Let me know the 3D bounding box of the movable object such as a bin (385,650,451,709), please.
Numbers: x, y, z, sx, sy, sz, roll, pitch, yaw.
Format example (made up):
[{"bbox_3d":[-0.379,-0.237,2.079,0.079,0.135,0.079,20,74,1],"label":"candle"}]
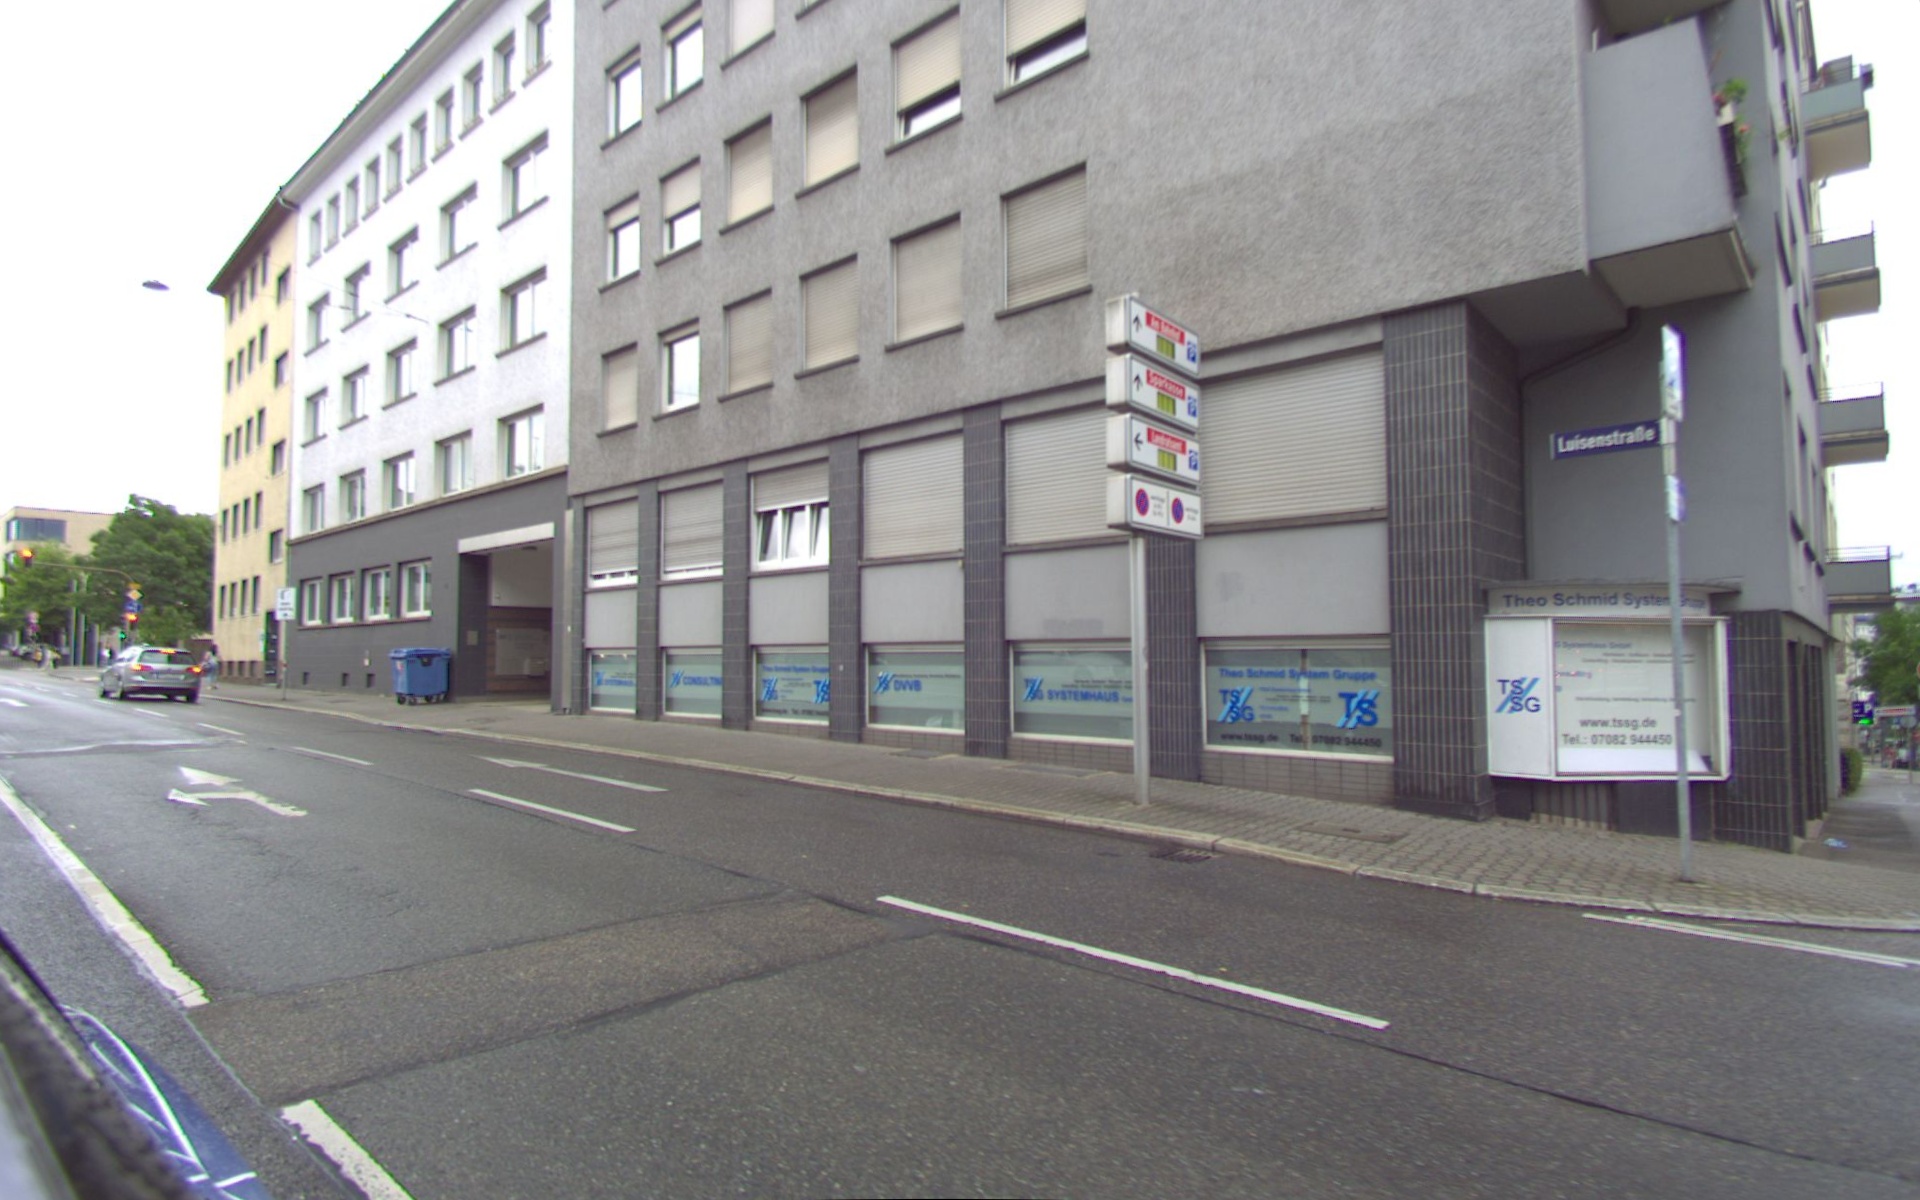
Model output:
[{"bbox_3d":[-13.001,1.887,24.282,1.190,1.334,1.064,-3,-3,42],"label":"movable object such as a bin"}]

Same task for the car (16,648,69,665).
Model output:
[{"bbox_3d":[-93.668,5.781,103.339,3.940,1.597,2.001,1,-3,-44],"label":"car"}]

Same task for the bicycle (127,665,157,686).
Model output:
[{"bbox_3d":[-38.650,3.568,47.826,1.867,0.914,0.875,-3,-3,44],"label":"bicycle"}]

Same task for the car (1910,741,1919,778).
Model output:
[{"bbox_3d":[40.697,6.638,41.913,1.713,1.471,3.511,-2,-8,40],"label":"car"}]

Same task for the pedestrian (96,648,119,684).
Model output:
[{"bbox_3d":[-40.271,3.109,47.800,0.811,1.702,0.709,-3,-3,44],"label":"pedestrian"}]

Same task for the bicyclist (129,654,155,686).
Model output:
[{"bbox_3d":[-38.602,3.280,47.751,0.813,1.453,0.833,-3,-3,44],"label":"bicyclist"}]

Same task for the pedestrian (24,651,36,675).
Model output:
[{"bbox_3d":[-71.549,4.823,77.843,0.692,1.785,0.588,-3,-3,41],"label":"pedestrian"}]

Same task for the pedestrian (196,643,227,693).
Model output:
[{"bbox_3d":[-25.771,2.335,34.849,0.811,1.702,0.709,-3,-3,44],"label":"pedestrian"}]

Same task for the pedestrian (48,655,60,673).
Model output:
[{"bbox_3d":[-70.565,4.991,78.824,0.475,1.386,0.614,-3,-3,42],"label":"pedestrian"}]

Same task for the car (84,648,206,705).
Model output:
[{"bbox_3d":[-22.466,2.101,27.856,4.293,1.427,1.807,-3,-8,41],"label":"car"}]

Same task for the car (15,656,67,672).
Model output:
[{"bbox_3d":[-95.418,6.628,105.058,3.940,1.597,2.001,1,-3,-44],"label":"car"}]
